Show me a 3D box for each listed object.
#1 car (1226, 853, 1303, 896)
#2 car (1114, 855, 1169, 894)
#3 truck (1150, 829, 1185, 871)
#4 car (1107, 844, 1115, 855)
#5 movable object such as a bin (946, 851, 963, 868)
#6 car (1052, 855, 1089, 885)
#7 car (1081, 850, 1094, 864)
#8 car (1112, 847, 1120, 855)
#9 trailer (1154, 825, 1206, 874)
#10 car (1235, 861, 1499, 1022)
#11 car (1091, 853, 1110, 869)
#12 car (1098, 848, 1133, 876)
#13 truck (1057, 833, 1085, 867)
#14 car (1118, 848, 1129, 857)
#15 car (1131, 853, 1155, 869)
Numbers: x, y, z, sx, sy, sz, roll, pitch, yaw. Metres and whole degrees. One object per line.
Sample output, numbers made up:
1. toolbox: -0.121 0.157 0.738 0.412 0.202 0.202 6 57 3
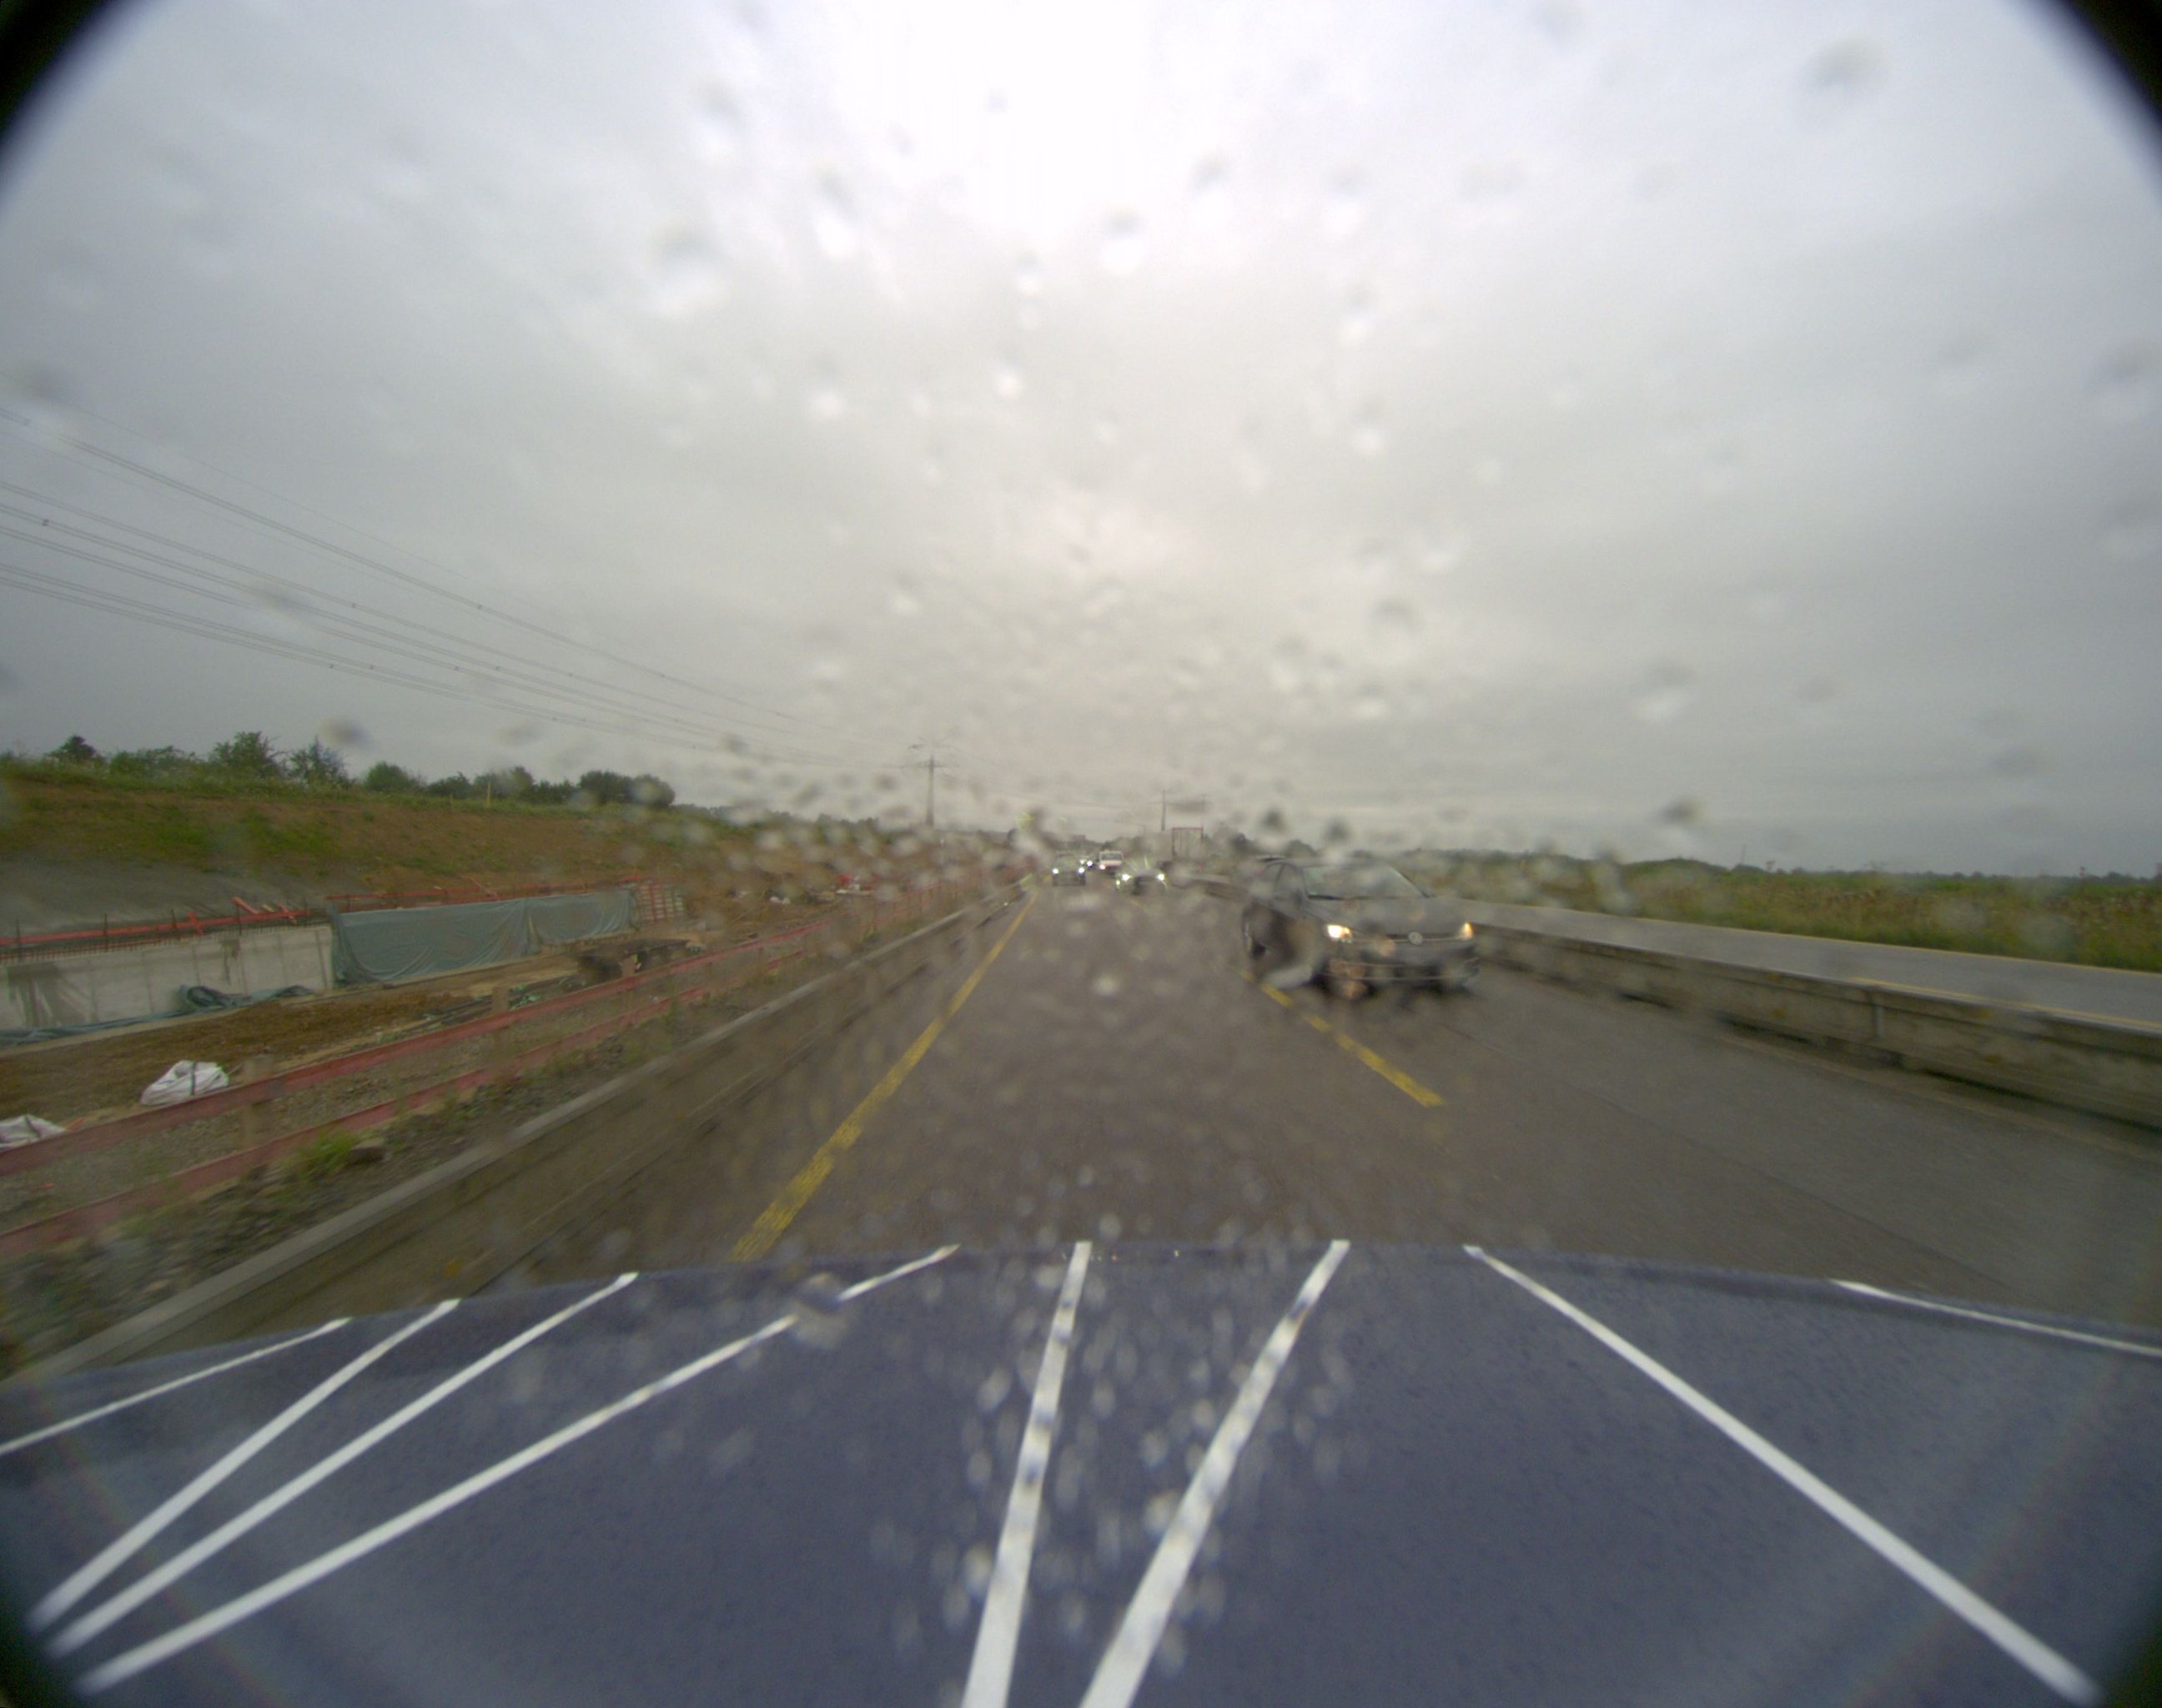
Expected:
1. car: 7.019 0.742 29.561 1.830 1.434 4.696 -1 1 0
2. car: 2.408 0.786 31.205 1.800 1.389 4.268 -2 1 -1
3. truck: 8.989 -0.418 79.222 2.794 4.157 5.906 -1 0 -1
4. car: 7.422 -1.184 188.477 1.730 2.707 4.090 -1 1 0
5. movable object such as a bin: -21.887 0.908 131.725 2.252 2.703 3.999 -2 1 -1
6. car: -0.627 0.858 42.000 1.800 1.524 4.306 -2 0 -3
7. car: 0.970 0.419 113.784 1.800 1.850 4.286 -2 1 -1
8. car: 8.146 -0.711 177.418 1.730 1.749 4.089 -1 1 -1
9. trailer: 9.159 -0.390 72.178 2.794 4.175 13.671 -1 0 -1
10. car: 3.180 0.866 9.379 1.654 1.414 4.079 -2 1 -1
11. car: 2.054 0.749 80.200 1.799 1.521 4.068 -2 1 3
12. car: 2.423 0.515 54.876 2.161 1.848 5.178 -2 1 -1
13. truck: -1.049 -0.514 88.746 2.837 3.617 9.120 -2 1 1
14. car: 7.742 -0.277 138.298 1.730 1.606 4.089 -1 1 -1
15. car: 5.654 0.608 69.483 1.723 1.412 4.089 -1 1 -1
